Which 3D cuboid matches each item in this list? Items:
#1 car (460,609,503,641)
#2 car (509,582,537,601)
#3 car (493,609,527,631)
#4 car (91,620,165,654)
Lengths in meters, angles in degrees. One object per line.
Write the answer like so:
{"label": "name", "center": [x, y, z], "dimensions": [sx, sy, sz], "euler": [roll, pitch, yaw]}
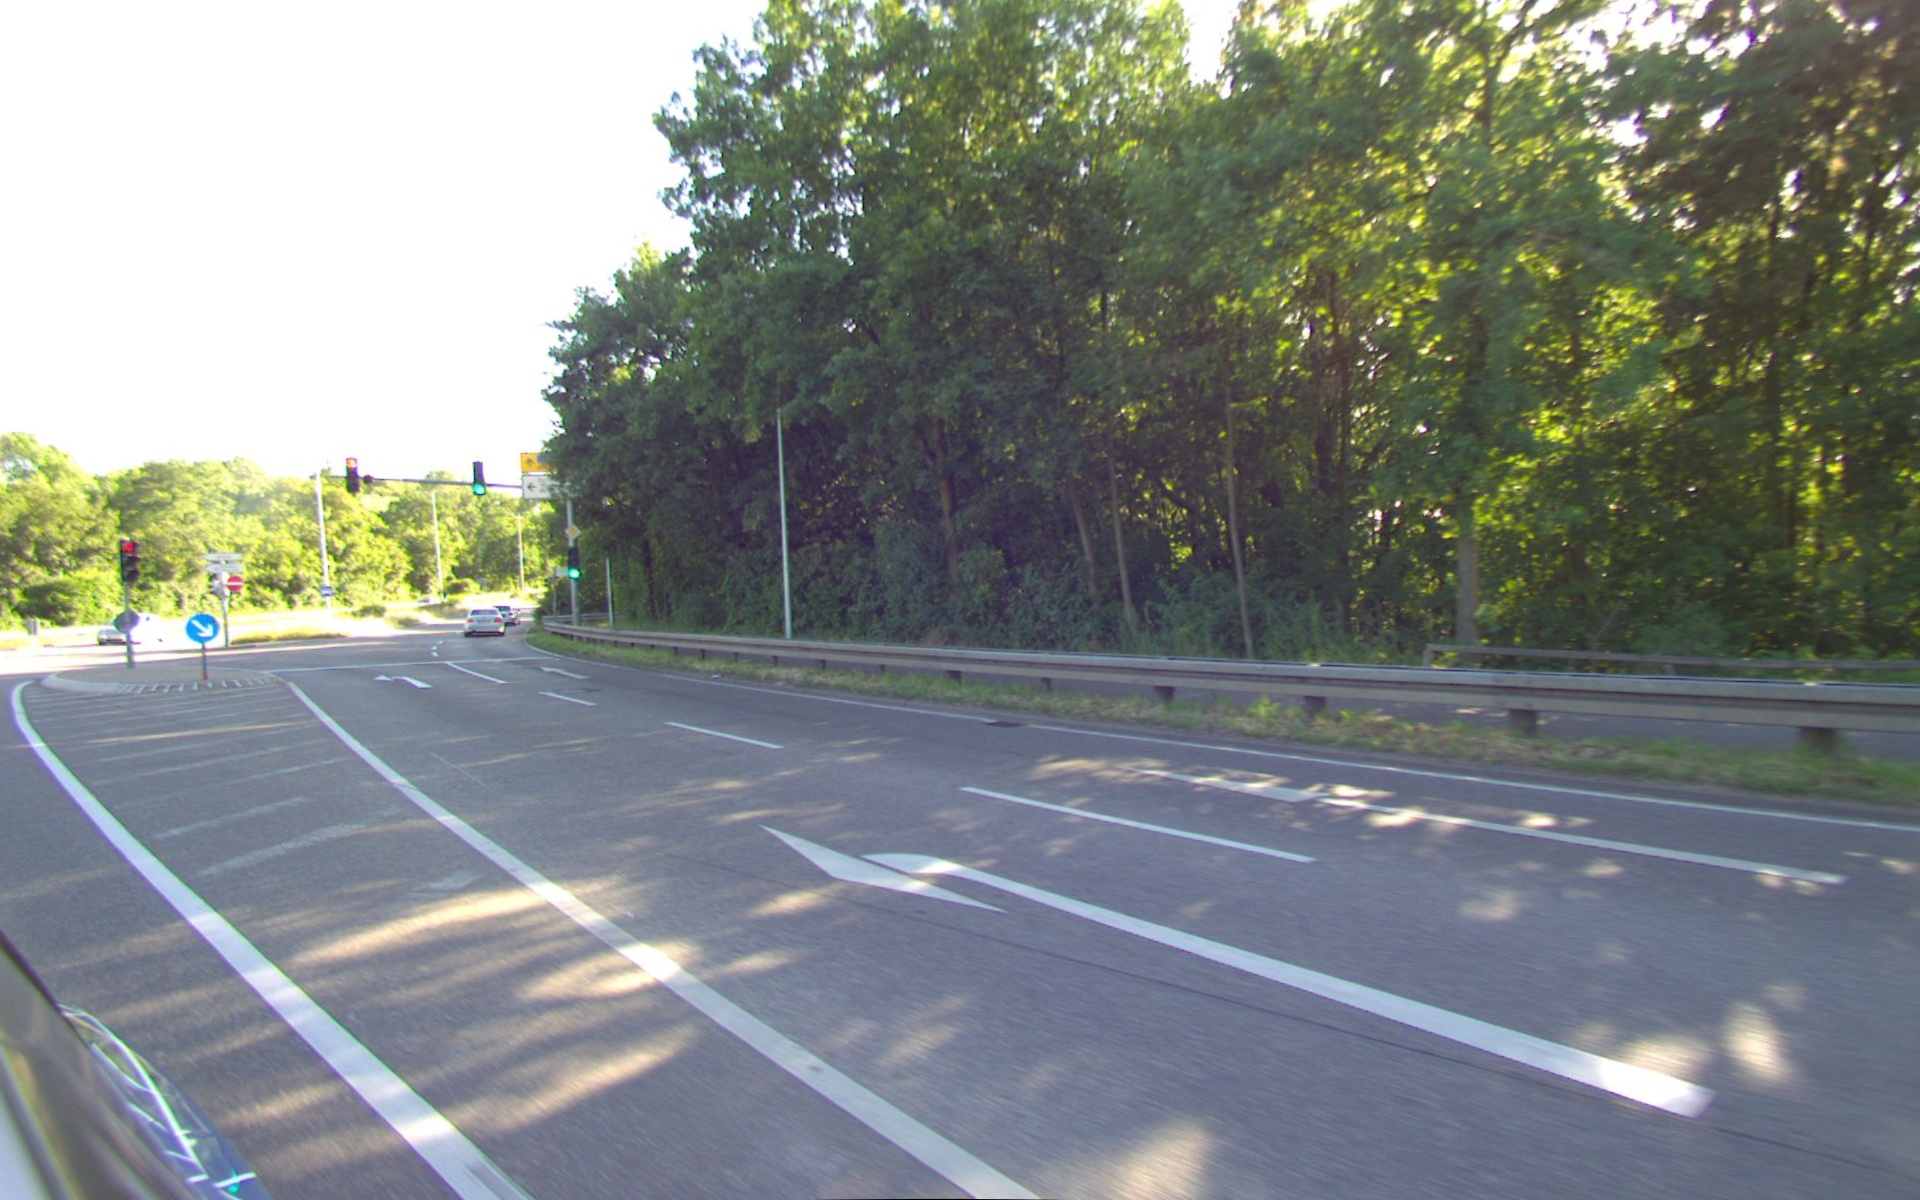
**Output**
{"label": "car", "center": [-24.371, 1.232, 51.677], "dimensions": [1.821, 1.499, 4.644], "euler": [-2, 1, -24]}
{"label": "car", "center": [-48.753, -0.953, 113.016], "dimensions": [1.967, 2.029, 4.009], "euler": [-2, 1, -11]}
{"label": "car", "center": [-29.690, 1.280, 66.906], "dimensions": [1.677, 1.400, 4.541], "euler": [0, 0, -19]}
{"label": "car", "center": [-40.499, 1.745, 49.343], "dimensions": [1.735, 1.447, 4.344], "euler": [-2, 1, -25]}
